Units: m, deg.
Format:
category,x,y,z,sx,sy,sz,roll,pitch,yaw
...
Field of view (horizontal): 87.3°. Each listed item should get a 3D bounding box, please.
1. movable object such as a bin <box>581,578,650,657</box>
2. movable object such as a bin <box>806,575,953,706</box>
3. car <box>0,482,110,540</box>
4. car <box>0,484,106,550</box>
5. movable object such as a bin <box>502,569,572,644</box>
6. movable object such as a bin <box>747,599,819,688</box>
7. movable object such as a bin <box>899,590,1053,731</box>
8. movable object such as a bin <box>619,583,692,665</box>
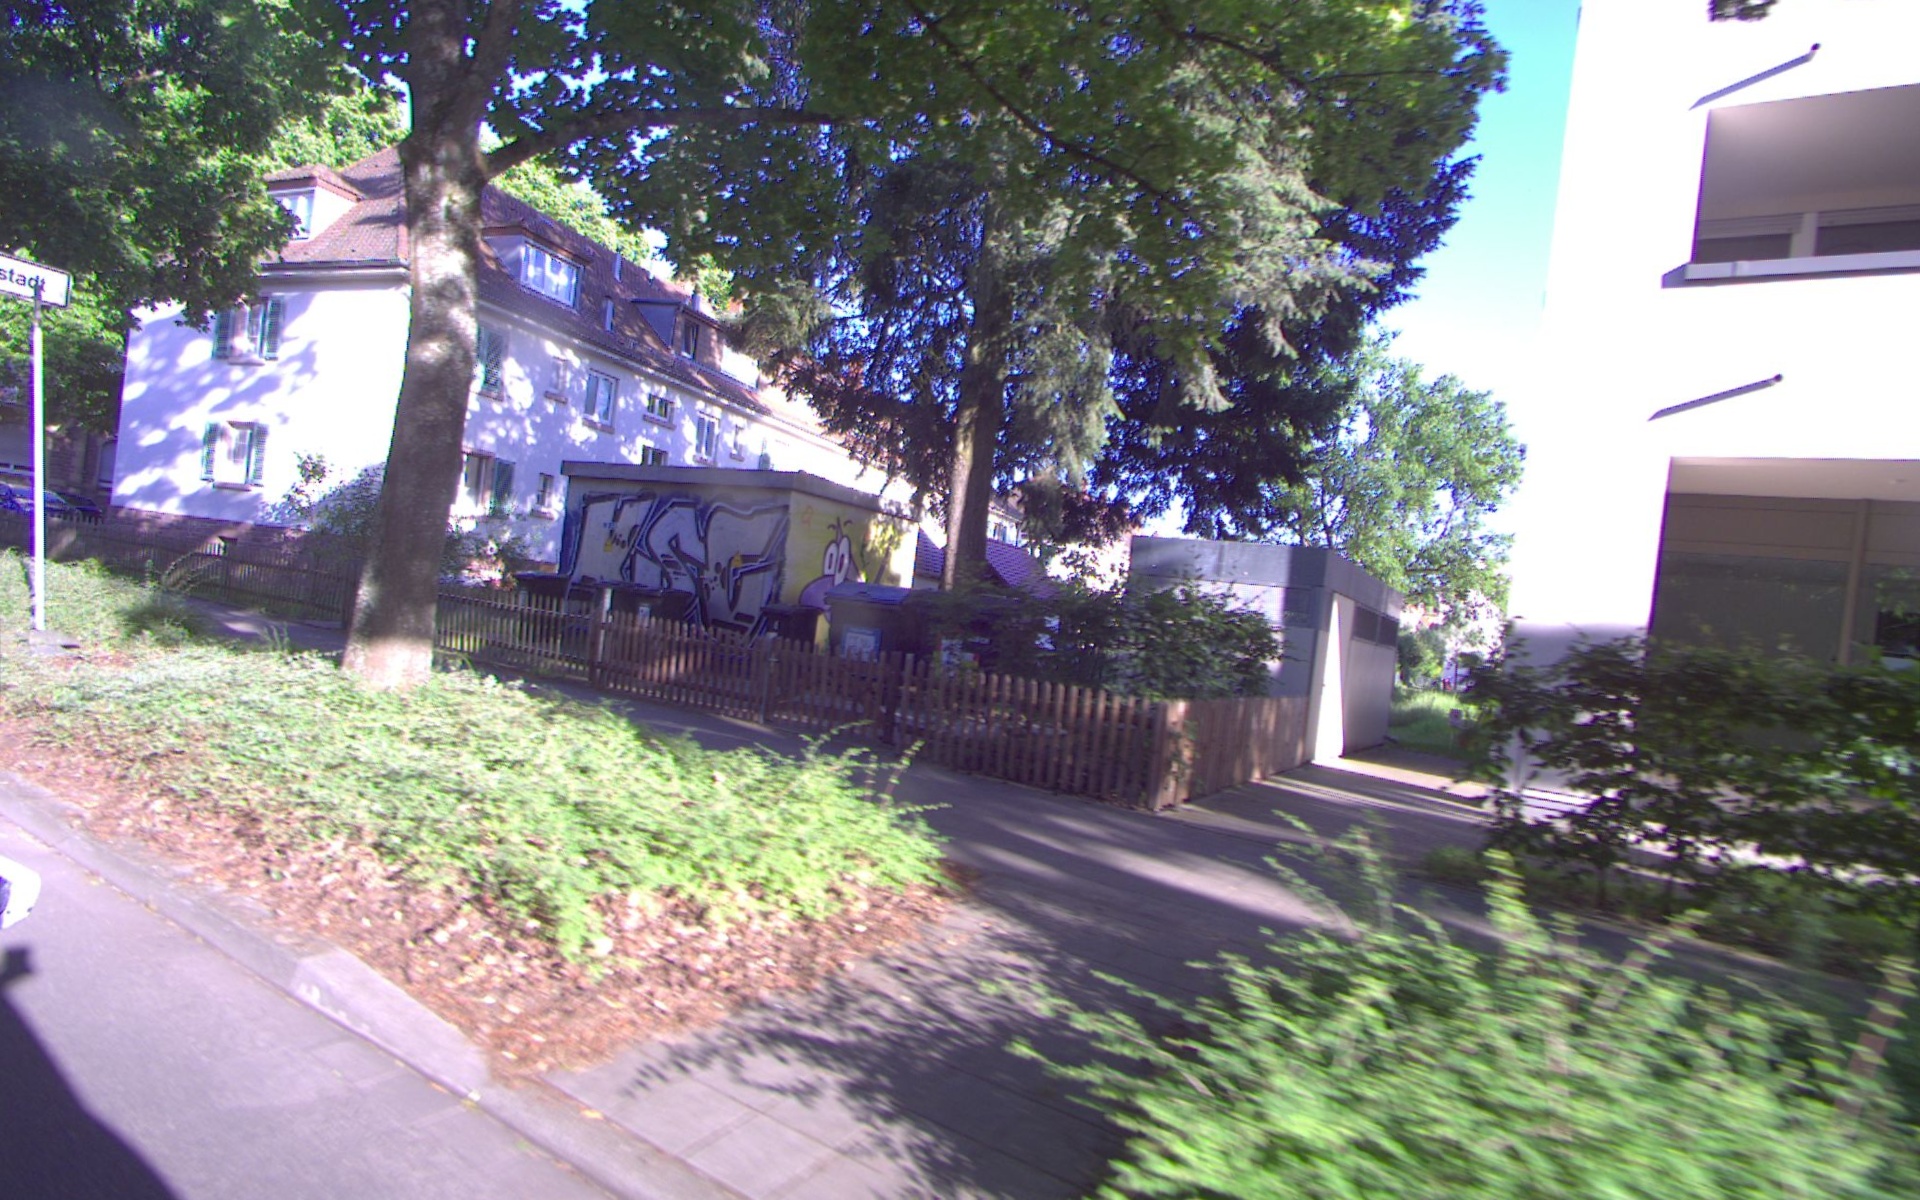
category,x,y,z,sx,sy,sz,roll,pitch,yaw
movable object such as a bin,-4.858,0.252,14.200,0.585,1.043,0.615,7,2,30
movable object such as a bin,-1.020,0.505,12.759,1.364,1.449,1.079,7,1,31
car,-35.093,-3.452,37.916,1.703,1.640,4.261,8,-1,22
car,-27.826,-2.518,29.934,3.927,1.573,2.001,5,-2,22
movable object such as a bin,-6.352,0.103,15.125,0.634,1.043,0.643,7,1,30
movable object such as a bin,-2.255,0.552,12.835,0.604,1.043,0.538,7,2,31
movable object such as a bin,0.196,0.692,11.939,1.343,1.445,1.079,7,1,31
movable object such as a bin,-4.169,0.328,13.784,0.630,1.043,0.606,7,2,30
